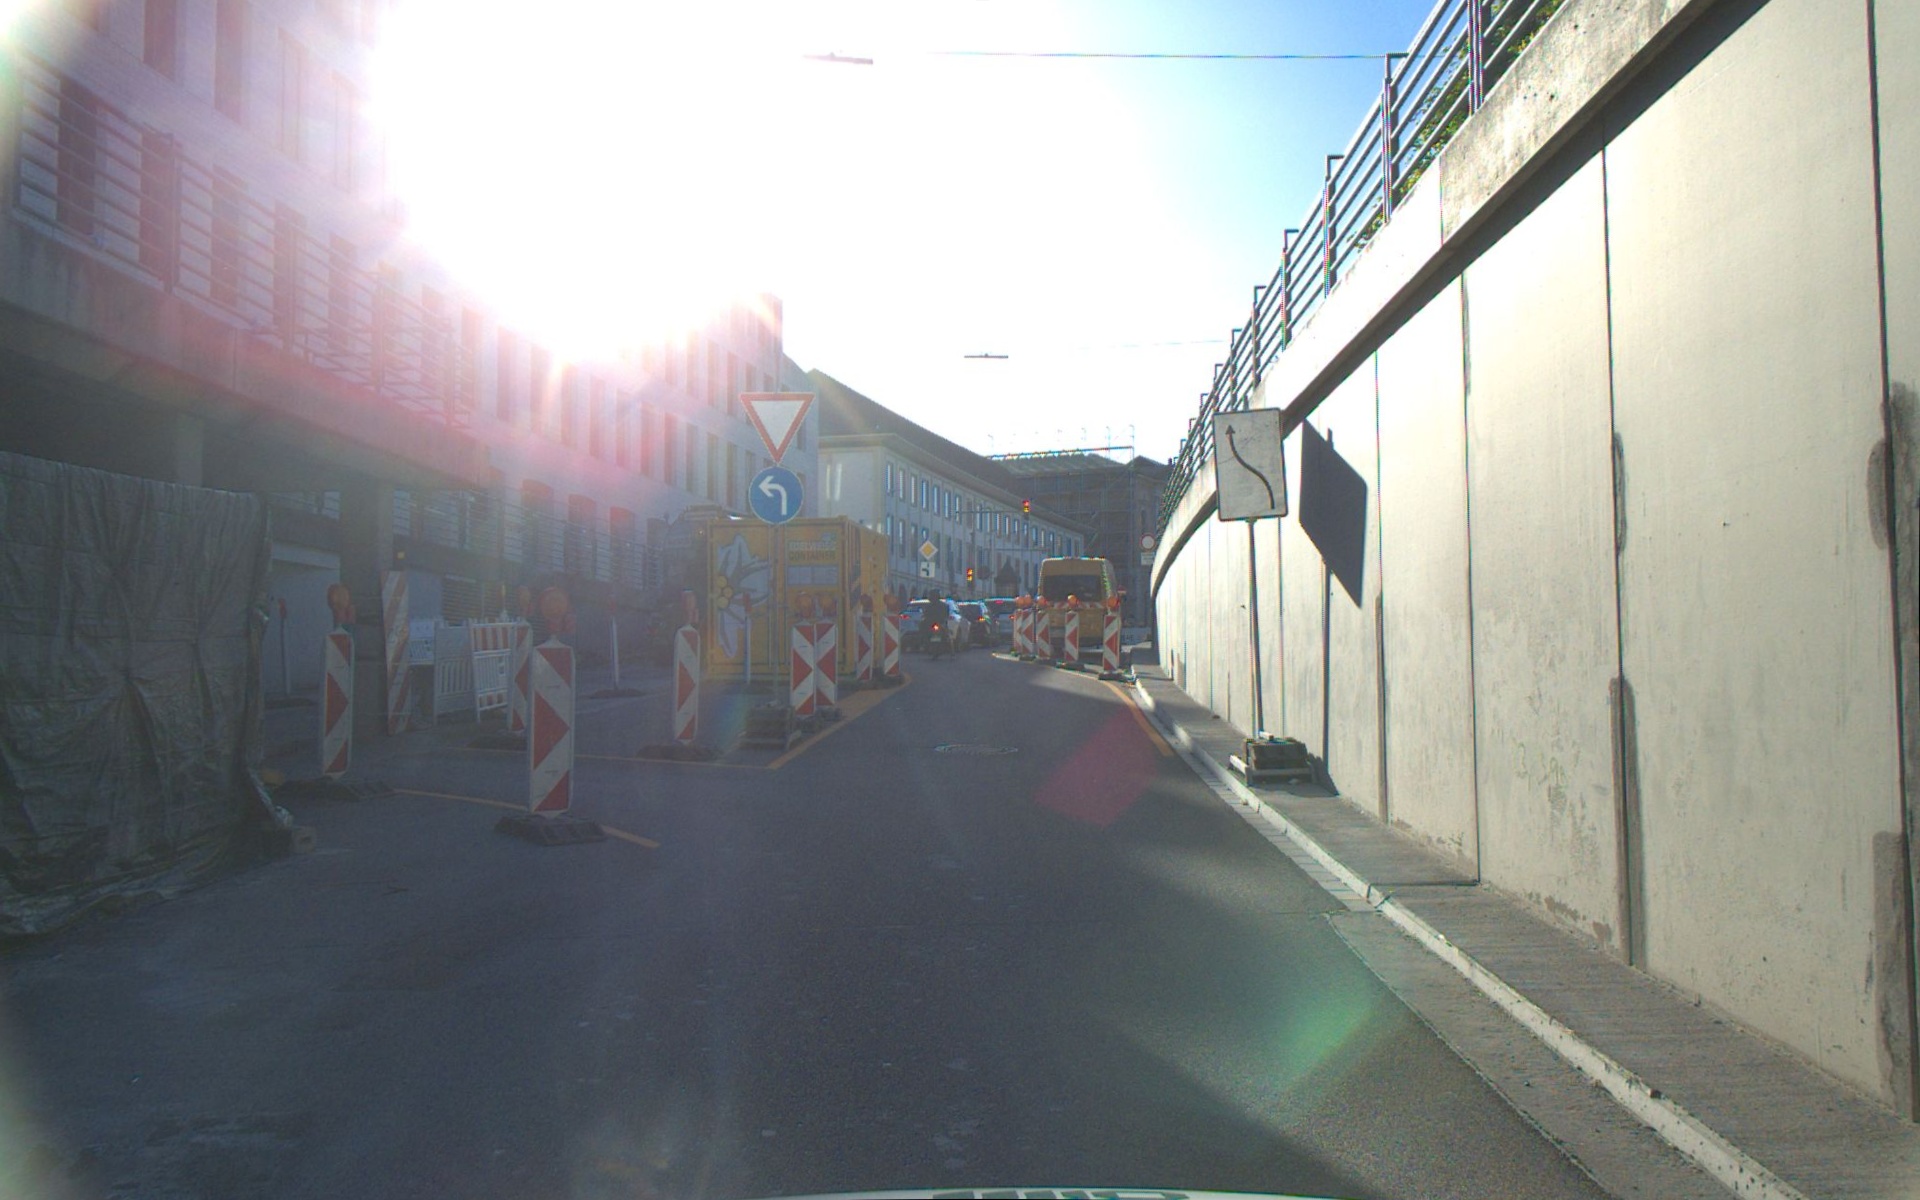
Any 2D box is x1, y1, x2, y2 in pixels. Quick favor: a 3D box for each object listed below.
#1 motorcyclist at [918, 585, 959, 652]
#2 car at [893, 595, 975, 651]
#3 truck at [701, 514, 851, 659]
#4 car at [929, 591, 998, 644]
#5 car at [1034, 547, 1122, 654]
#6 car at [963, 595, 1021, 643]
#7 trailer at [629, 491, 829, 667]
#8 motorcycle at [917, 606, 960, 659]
[{"bbox_3d":[-0.537,0.447,40.292,0.935,1.587,1.238,0,1,-4],"label":"motorcyclist"},{"bbox_3d":[-0.701,0.627,47.361,1.819,1.498,4.003,1,0,7],"label":"car"},{"bbox_3d":[-4.953,-0.329,45.563,2.525,3.550,5.820,-4,-1,8],"label":"truck"},{"bbox_3d":[0.152,0.592,53.509,1.736,1.578,4.109,-1,-2,7],"label":"car"},{"bbox_3d":[3.333,0.048,45.457,2.067,2.671,6.992,-1,-1,7],"label":"car"},{"bbox_3d":[1.243,0.703,62.731,1.765,1.751,4.166,0,0,7],"label":"car"},{"bbox_3d":[-5.533,-0.441,41.381,2.586,3.732,8.754,-4,-1,7],"label":"trailer"},{"bbox_3d":[-0.539,0.767,40.318,0.888,1.204,2.577,0,1,-4],"label":"motorcycle"}]
